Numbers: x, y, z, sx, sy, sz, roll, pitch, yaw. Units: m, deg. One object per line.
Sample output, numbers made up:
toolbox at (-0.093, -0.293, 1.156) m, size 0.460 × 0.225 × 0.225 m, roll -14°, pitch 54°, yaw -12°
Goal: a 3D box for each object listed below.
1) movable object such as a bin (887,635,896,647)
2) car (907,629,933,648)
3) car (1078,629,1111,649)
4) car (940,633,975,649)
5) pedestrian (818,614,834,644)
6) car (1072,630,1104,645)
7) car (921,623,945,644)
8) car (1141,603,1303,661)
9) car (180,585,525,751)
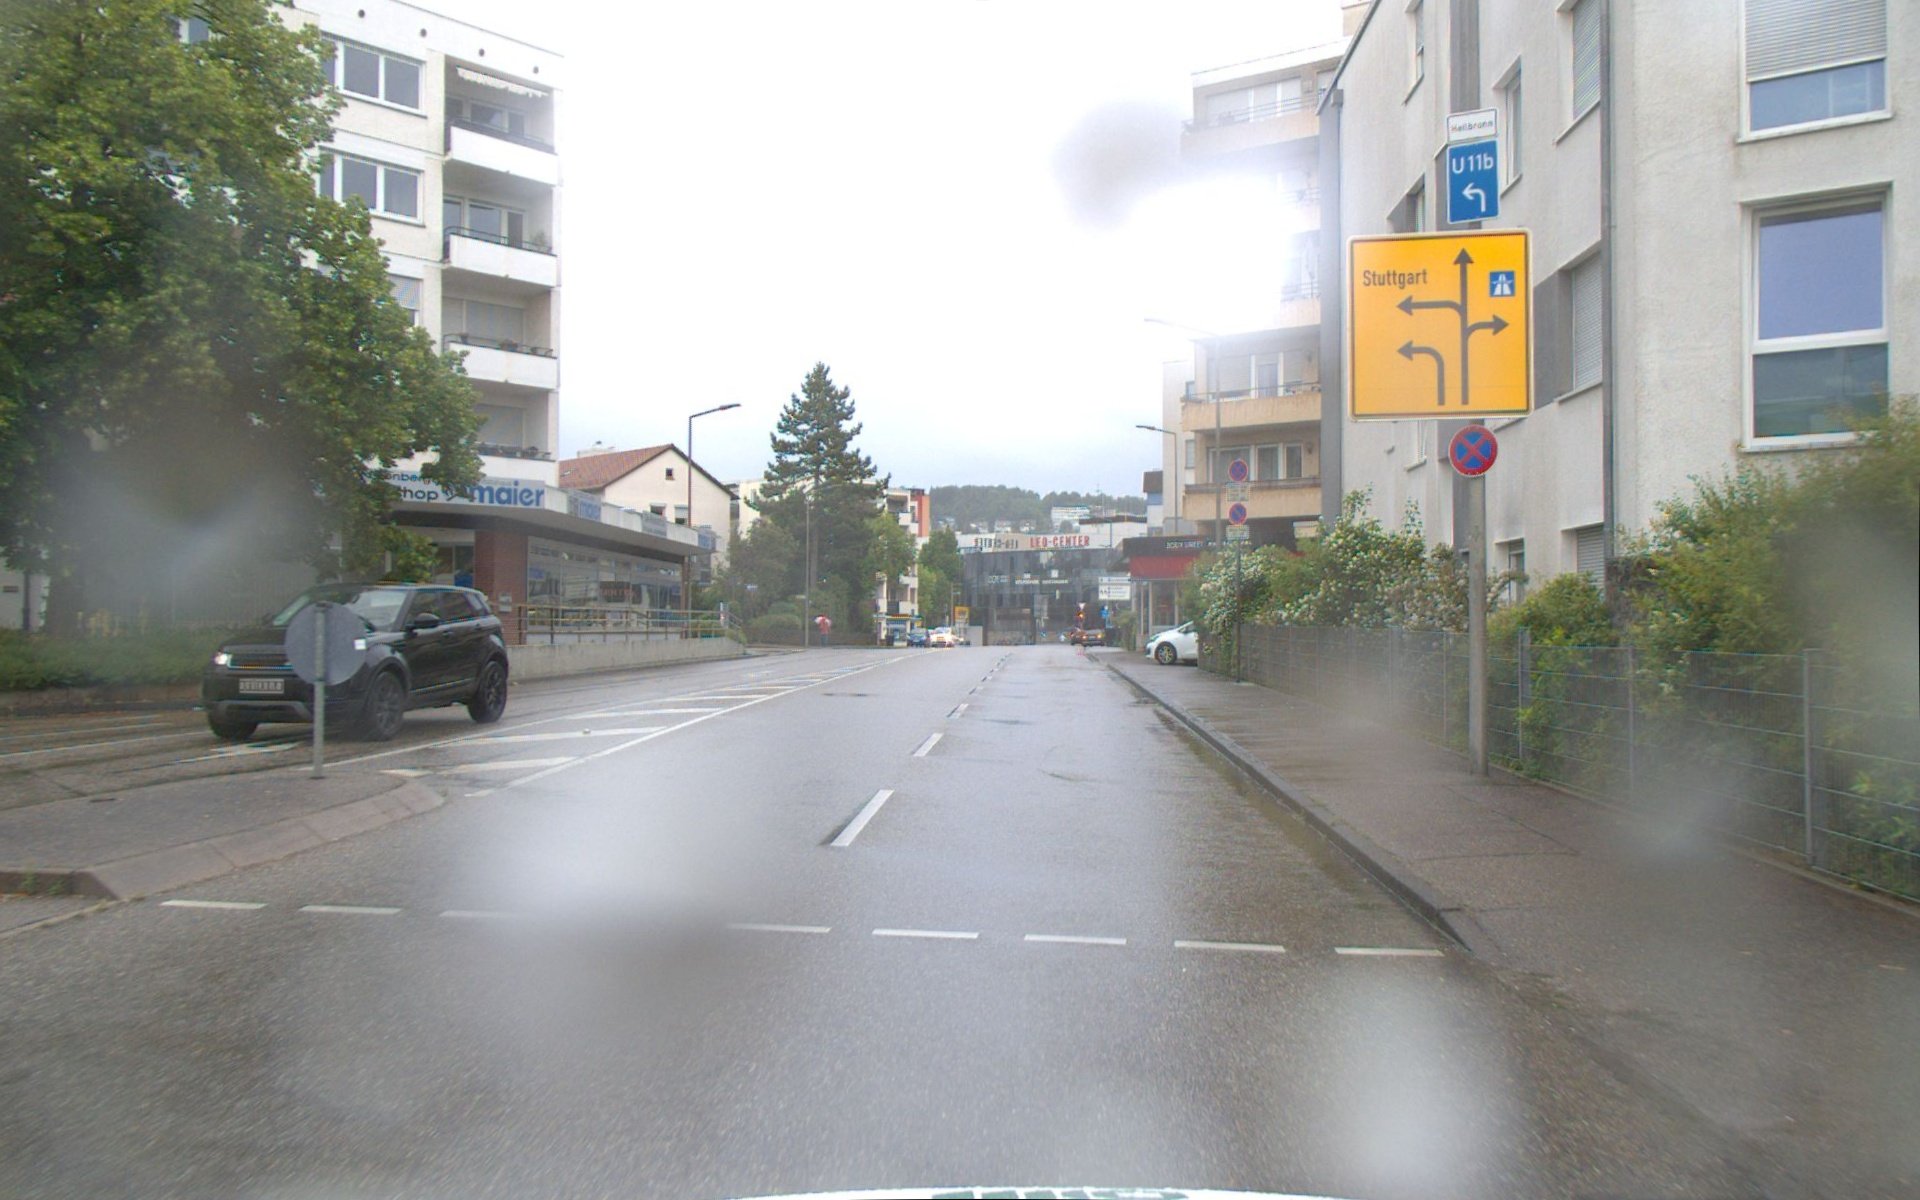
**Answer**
movable object such as a bin at (-5.593, 3.334, 134.165) m, size 0.634 × 0.983 × 0.683 m, roll 0°, pitch -2°, yaw 6°
car at (-3.302, 3.198, 138.207) m, size 1.616 × 1.548 × 4.327 m, roll 0°, pitch -1°, yaw 6°
car at (11.553, 3.332, 141.510) m, size 1.951 × 1.561 × 4.649 m, roll 1°, pitch -3°, yaw 15°
car at (-0.301, 4.754, 190.772) m, size 1.973 × 1.538 × 4.387 m, roll 4°, pitch 0°, yaw -31°
pedestrian at (-7.484, 1.618, 92.167) m, size 0.852 × 1.635 × 1.102 m, roll 0°, pitch -2°, yaw -3°
car at (12.446, 3.635, 160.850) m, size 1.769 × 1.444 × 3.996 m, roll -1°, pitch -2°, yaw 26°
car at (-2.054, 2.592, 127.909) m, size 1.662 × 1.433 × 4.001 m, roll -2°, pitch 0°, yaw 1°
car at (7.425, 0.875, 46.933) m, size 4.180 × 1.520 × 1.868 m, roll 1°, pitch 1°, yaw 32°
car at (-6.473, 0.653, 18.214) m, size 1.764 × 1.584 × 4.321 m, roll 1°, pitch 0°, yaw 7°
